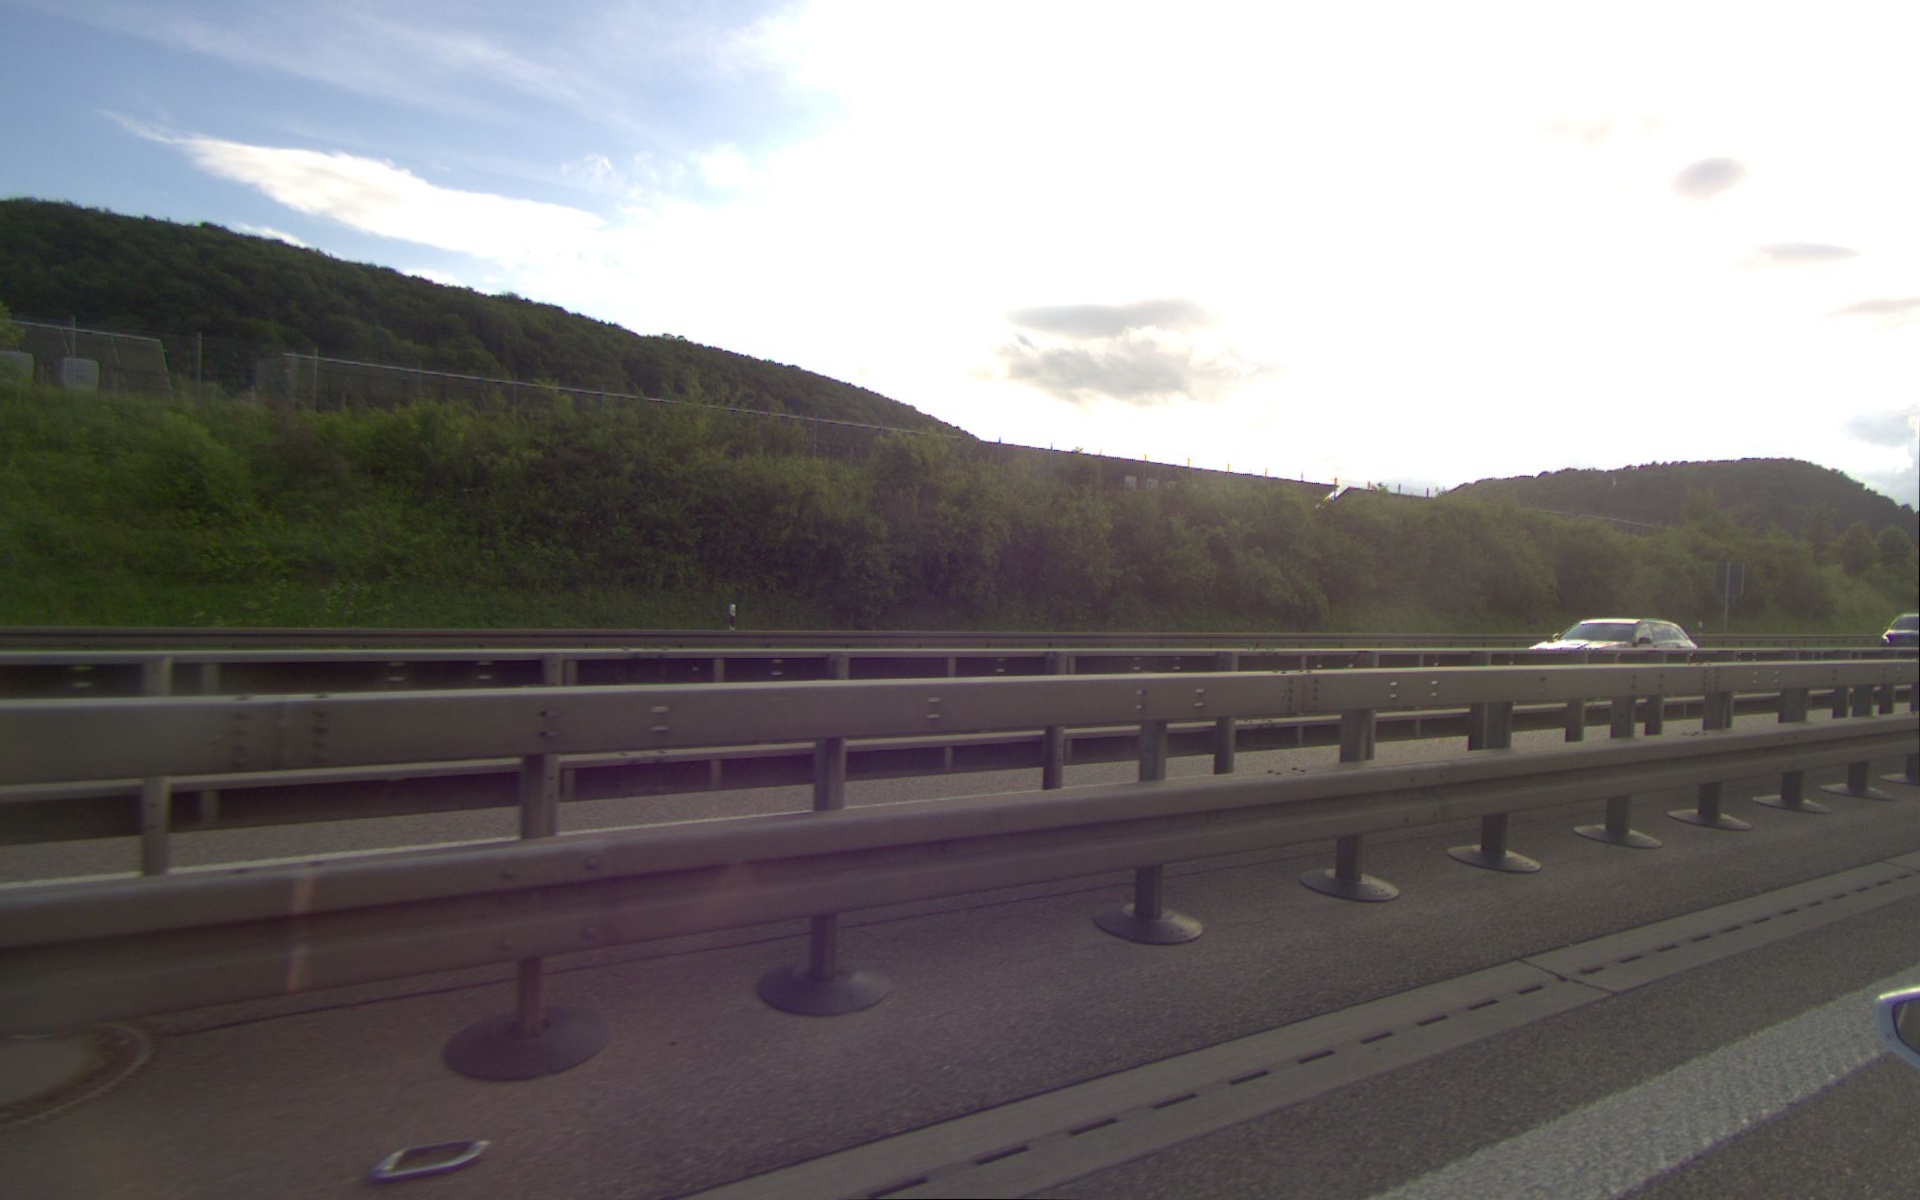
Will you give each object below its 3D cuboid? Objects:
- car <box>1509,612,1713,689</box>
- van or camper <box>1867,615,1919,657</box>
[{"bbox_3d":[14.024,1.064,21.582,4.538,1.449,1.982,2,0,-33],"label":"car"},{"bbox_3d":[41.180,1.522,43.158,5.395,1.682,1.982,1,0,-33],"label":"van or camper"}]
